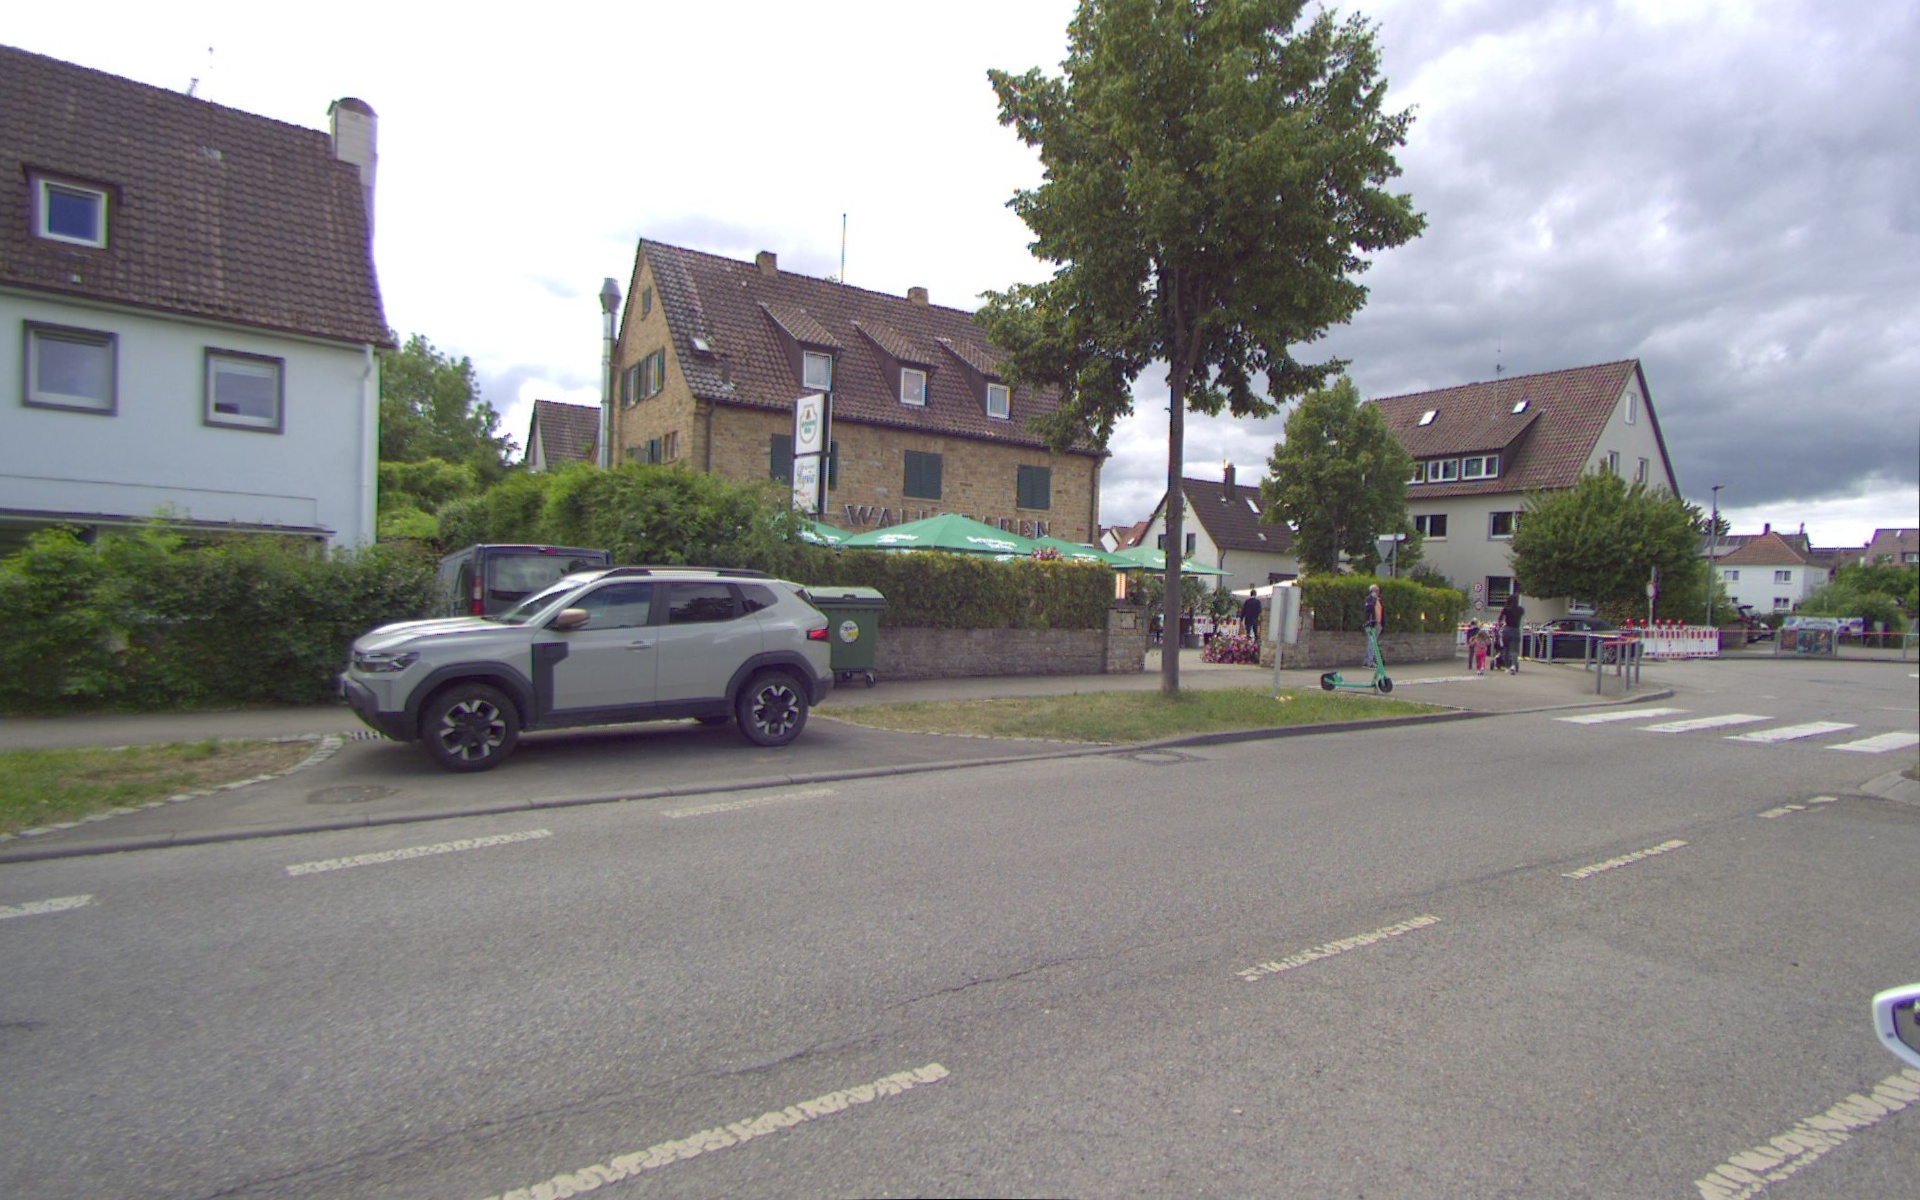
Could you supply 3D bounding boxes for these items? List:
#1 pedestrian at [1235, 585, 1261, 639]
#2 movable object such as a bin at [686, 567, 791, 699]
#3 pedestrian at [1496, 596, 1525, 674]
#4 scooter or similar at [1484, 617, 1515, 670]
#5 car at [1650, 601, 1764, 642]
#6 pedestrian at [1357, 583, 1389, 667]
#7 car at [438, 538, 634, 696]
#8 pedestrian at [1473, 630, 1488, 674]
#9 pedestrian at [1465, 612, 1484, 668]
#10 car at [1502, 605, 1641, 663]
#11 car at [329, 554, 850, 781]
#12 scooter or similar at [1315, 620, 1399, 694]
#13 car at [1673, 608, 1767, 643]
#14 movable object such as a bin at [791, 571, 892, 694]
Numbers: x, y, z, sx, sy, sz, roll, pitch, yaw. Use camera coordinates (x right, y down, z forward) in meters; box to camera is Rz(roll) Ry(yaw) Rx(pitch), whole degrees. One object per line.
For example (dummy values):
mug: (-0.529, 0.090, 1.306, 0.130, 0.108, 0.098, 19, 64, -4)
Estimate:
pedestrian: (8.487, 0.356, 29.554, 0.639, 1.560, 0.509, 1, 1, 24)
movable object such as a bin: (-3.059, 0.428, 13.805, 0.988, 1.673, 1.197, 1, 3, -35)
pedestrian: (12.098, 0.762, 22.068, 0.473, 1.692, 0.515, 2, 1, 24)
scooter or similar: (12.242, 0.969, 22.821, 0.399, 1.110, 0.970, 4, 2, 19)
car: (31.929, 0.881, 43.041, 1.581, 1.632, 3.572, 1, 0, -29)
pedestrian: (9.059, 0.538, 22.021, 0.531, 1.808, 0.561, 2, 1, 31)
car: (-6.189, 0.187, 14.397, 1.978, 1.917, 3.964, 1, 1, -32)
pedestrian: (11.189, 1.117, 21.596, 0.234, 0.906, 0.259, 2, 2, 23)
pedestrian: (11.753, 0.902, 22.963, 0.336, 1.261, 0.354, 1, 1, 24)
car: (18.900, 1.015, 31.210, 3.556, 1.656, 1.571, 1, 0, 29)
car: (-3.347, 0.505, 9.394, 4.251, 1.676, 1.848, 1, 1, -35)
scooter or similar: (6.596, 0.937, 16.701, 1.264, 1.154, 0.347, 1, 1, 27)
car: (33.604, 1.109, 44.459, 1.323, 1.400, 3.028, 1, 0, -29)
movable object such as a bin: (-1.770, 0.455, 14.877, 0.988, 1.673, 1.197, 1, 3, -35)
